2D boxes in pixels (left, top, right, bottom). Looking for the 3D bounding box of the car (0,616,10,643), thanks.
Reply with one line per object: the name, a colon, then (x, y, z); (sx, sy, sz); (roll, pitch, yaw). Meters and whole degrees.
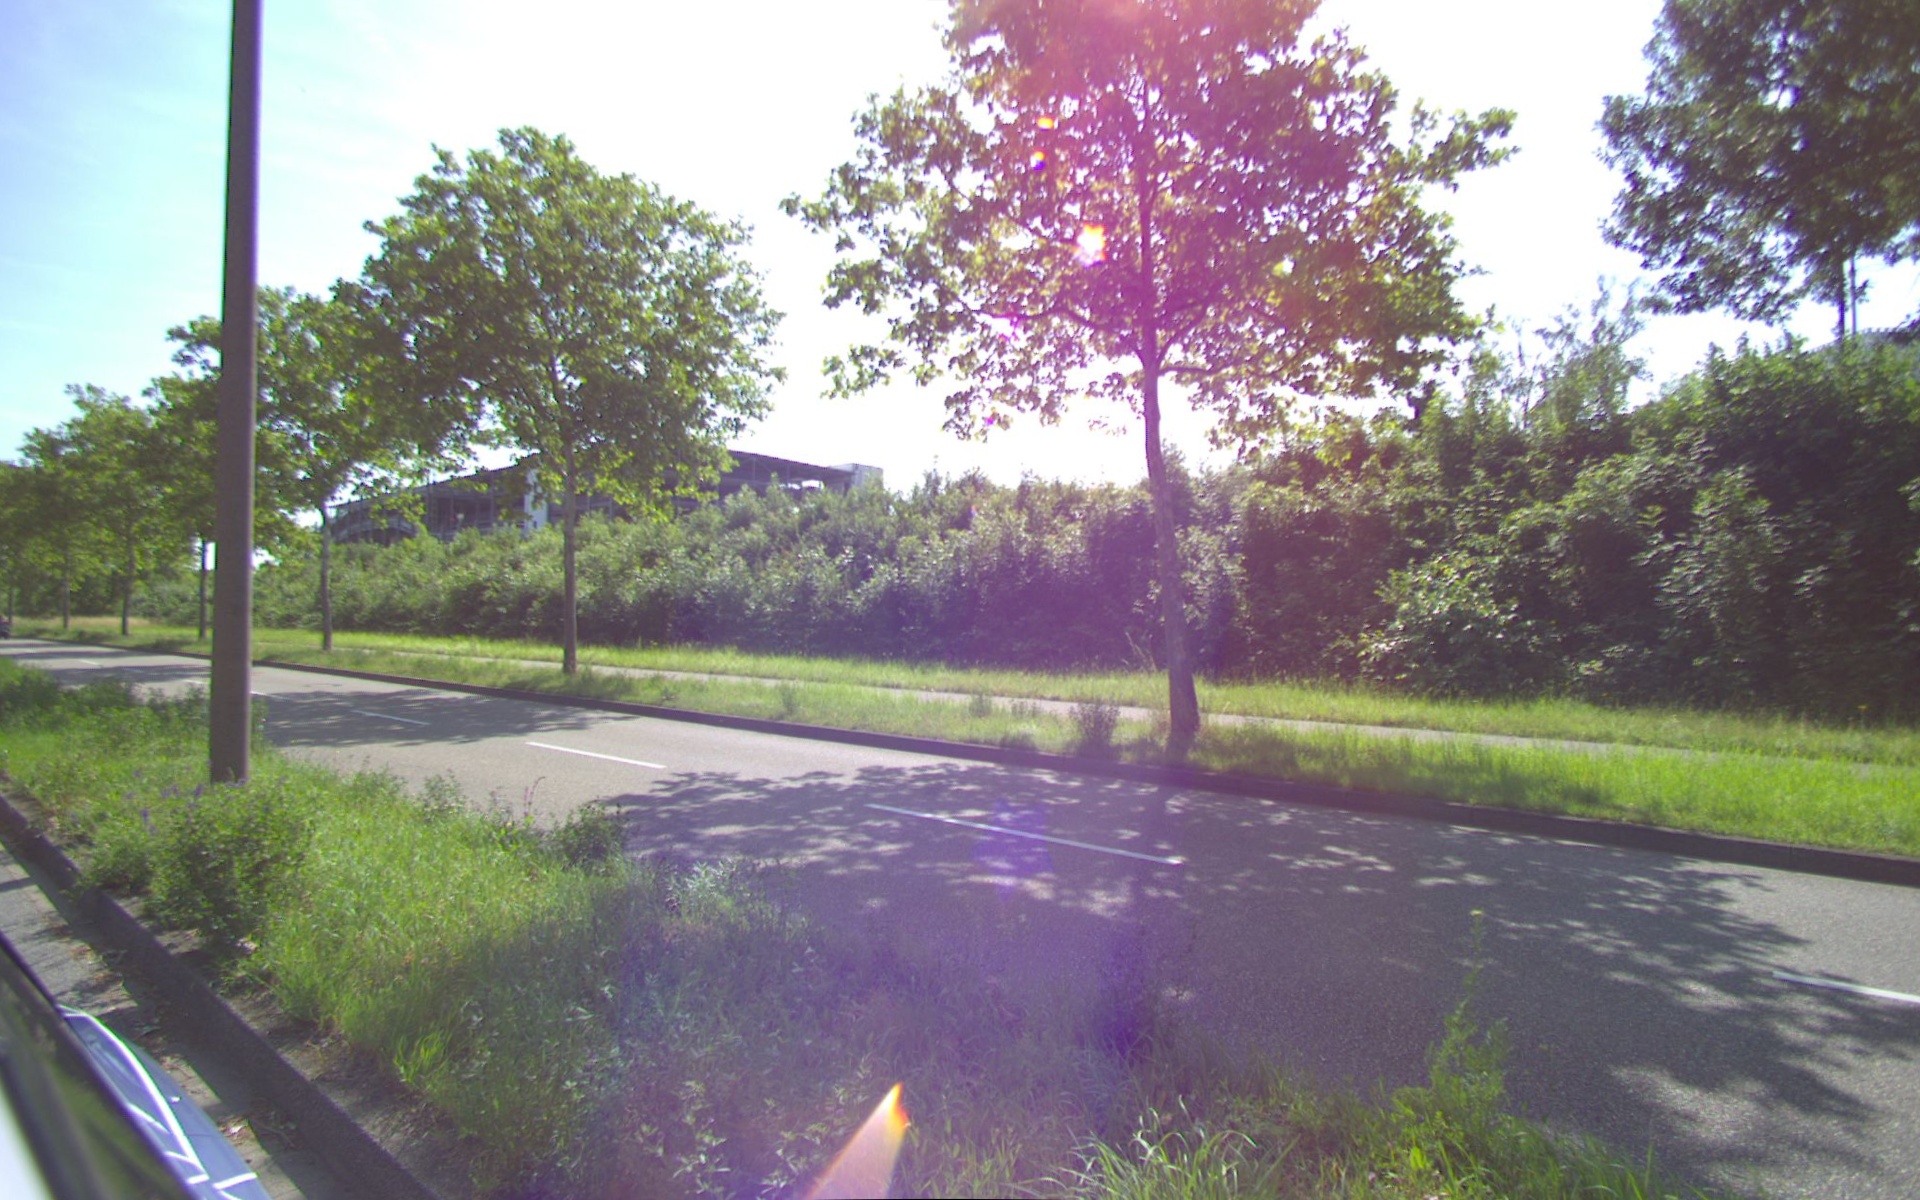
car: (-55.973, 1.670, 57.937); (3.935, 1.478, 1.844); (0, -1, 40)
